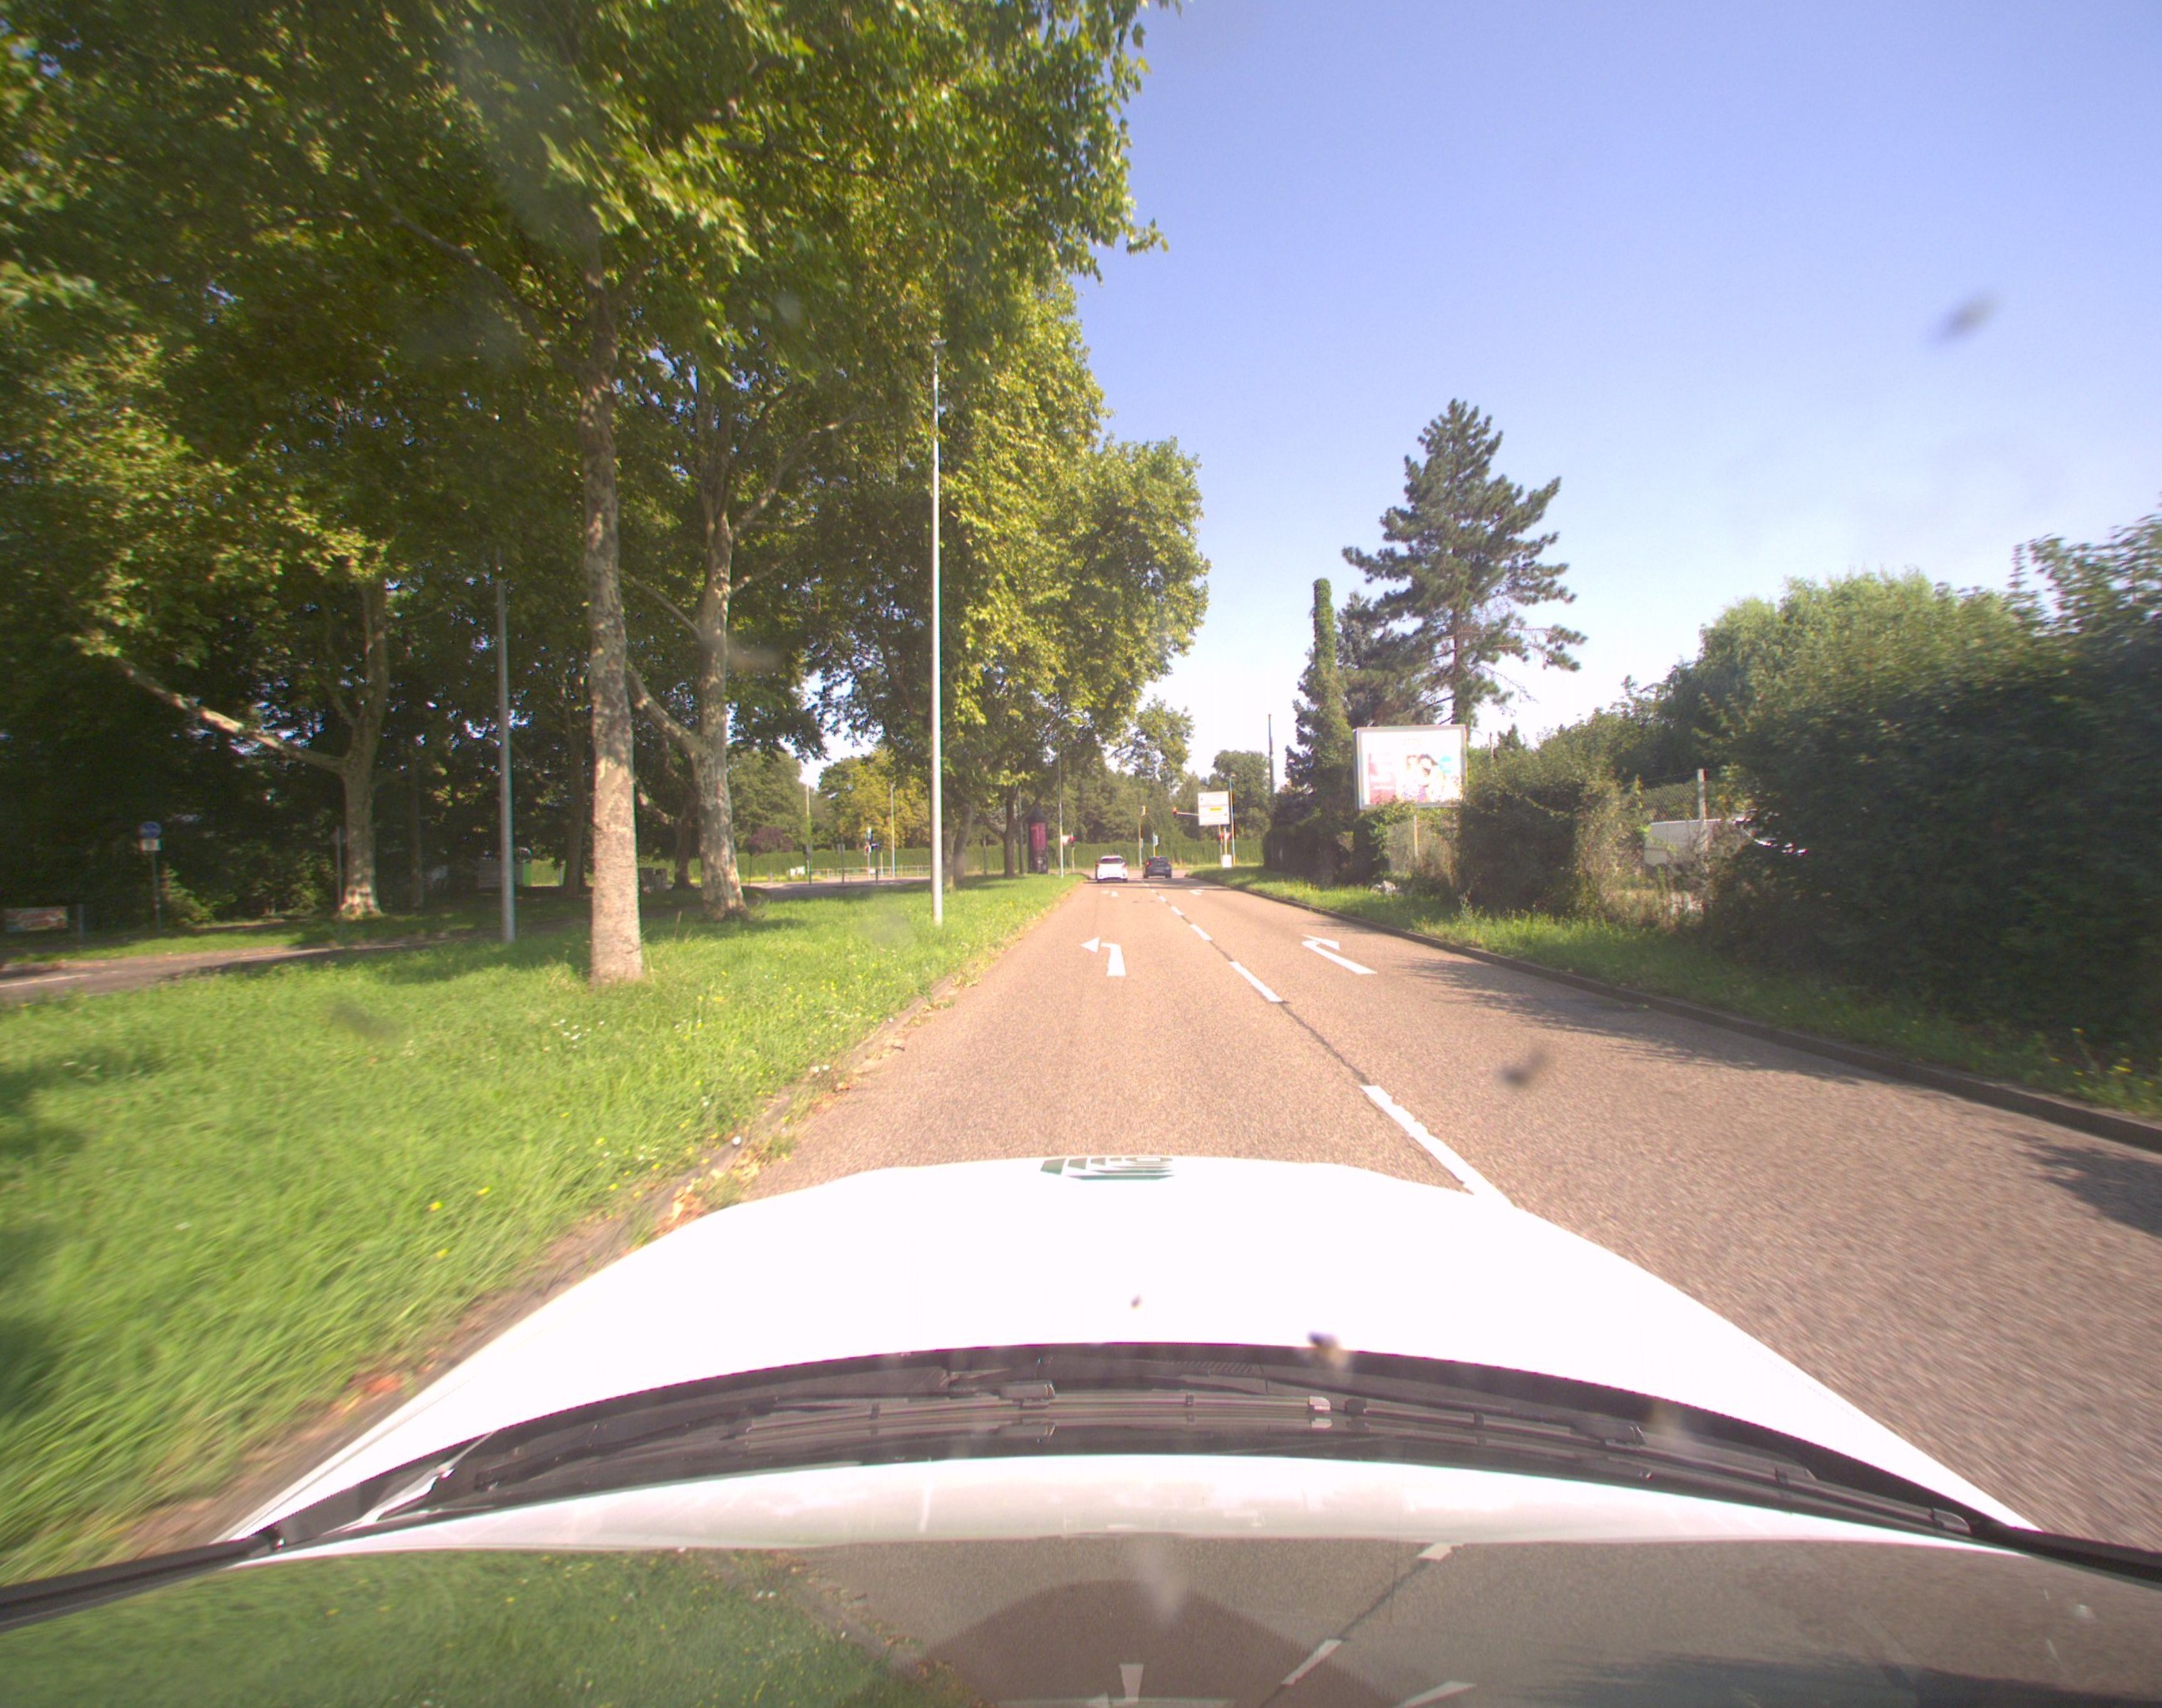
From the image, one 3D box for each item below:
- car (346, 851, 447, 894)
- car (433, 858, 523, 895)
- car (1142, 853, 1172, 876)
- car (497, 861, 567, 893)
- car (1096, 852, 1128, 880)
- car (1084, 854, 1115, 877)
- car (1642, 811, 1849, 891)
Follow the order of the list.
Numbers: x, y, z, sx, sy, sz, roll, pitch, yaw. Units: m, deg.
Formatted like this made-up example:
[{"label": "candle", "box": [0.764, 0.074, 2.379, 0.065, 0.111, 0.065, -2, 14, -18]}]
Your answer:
[{"label": "car", "box": [-41.612, 1.078, 49.682, 2.173, 2.440, 4.706, -2, 0, -2]}, {"label": "car", "box": [-37.796, 1.341, 51.223, 2.173, 2.137, 4.706, -2, 0, -2]}, {"label": "car", "box": [5.054, 0.698, 54.497, 1.791, 1.401, 4.002, -1, -1, 2]}, {"label": "car", "box": [-42.145, 1.717, 62.688, 2.025, 2.263, 5.117, -1, -1, -2]}, {"label": "car", "box": [1.810, 0.643, 45.962, 1.680, 1.462, 4.004, -2, -1, 3]}, {"label": "car", "box": [1.278, 0.766, 54.421, 1.678, 1.462, 3.857, -2, -1, 7]}, {"label": "car", "box": [17.857, -0.049, 22.246, 1.741, 1.924, 4.665, -1, -1, -1]}]
